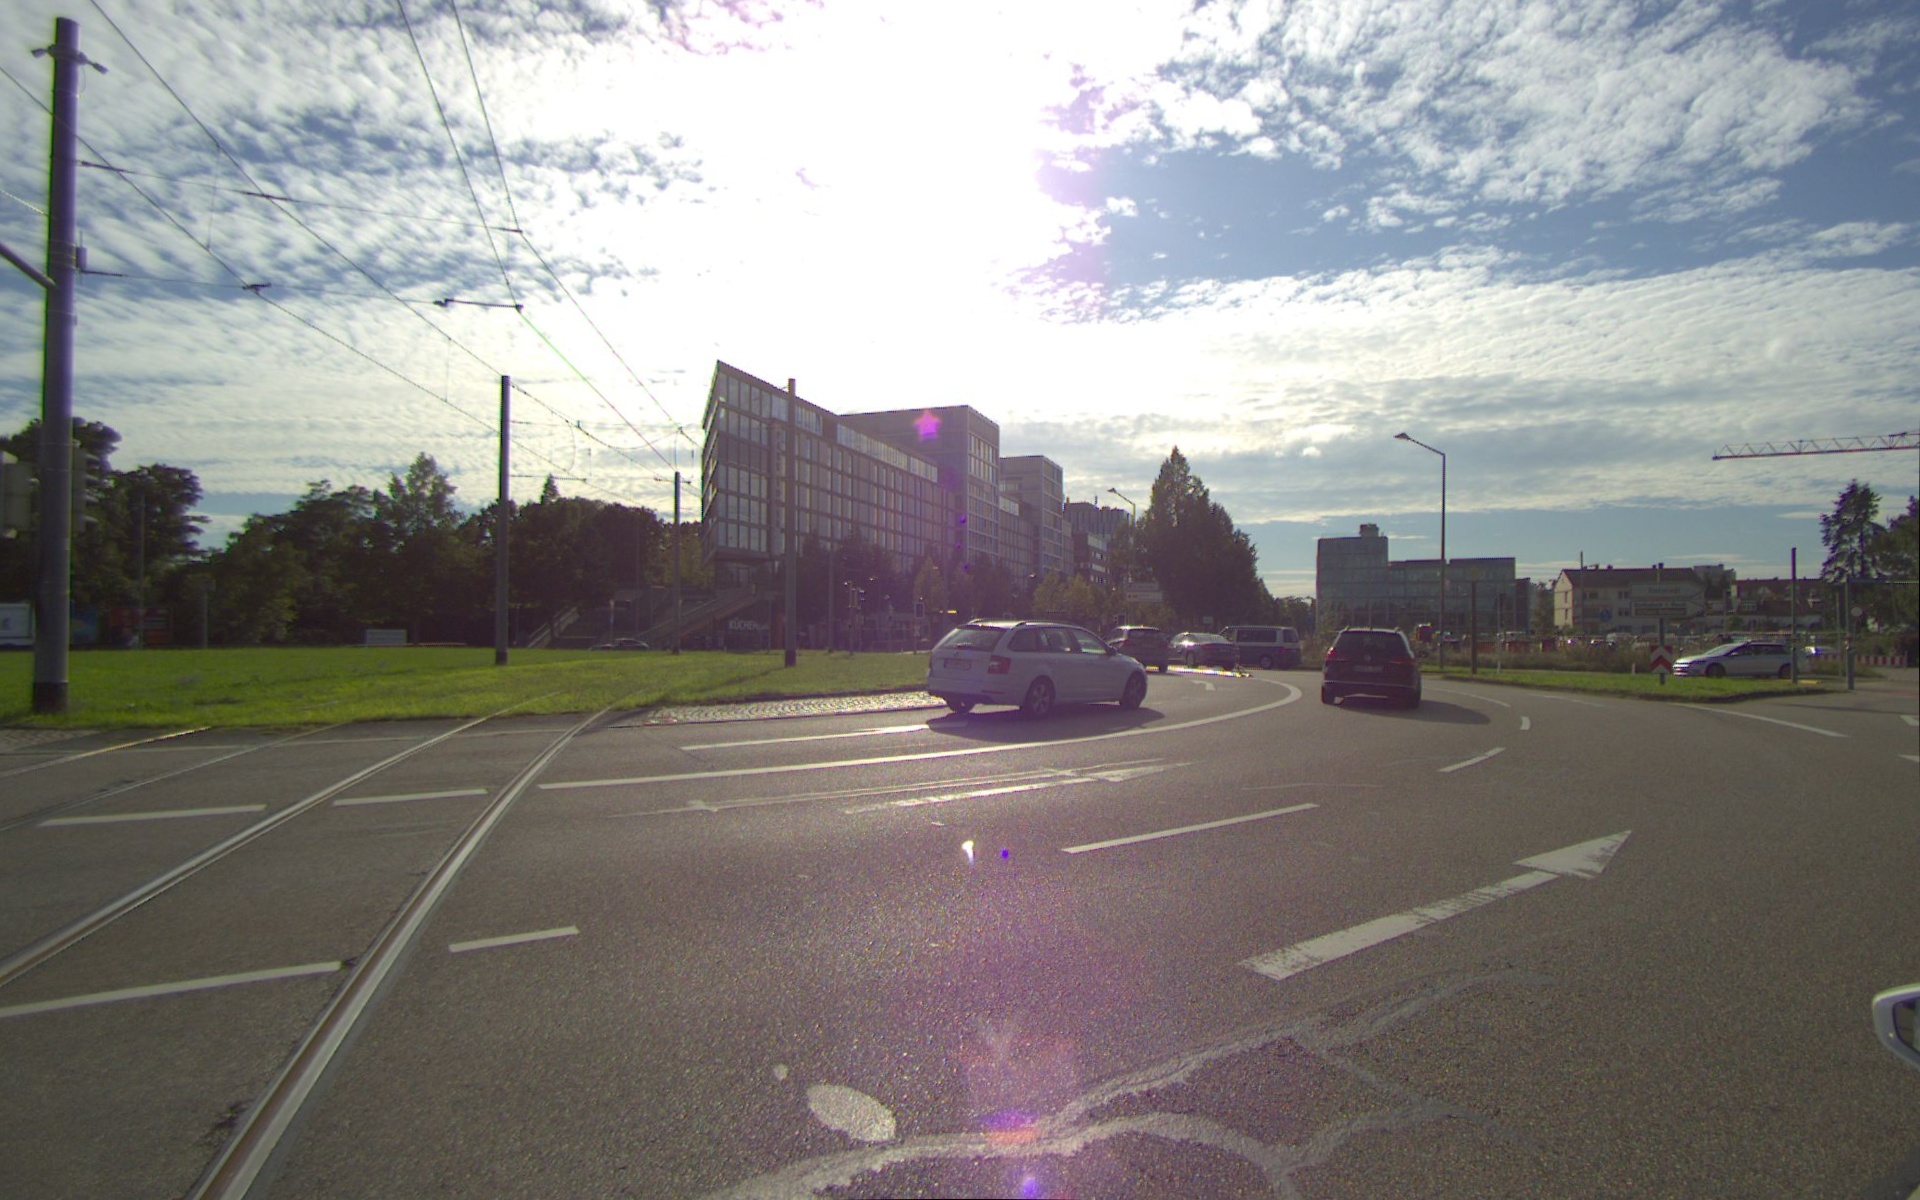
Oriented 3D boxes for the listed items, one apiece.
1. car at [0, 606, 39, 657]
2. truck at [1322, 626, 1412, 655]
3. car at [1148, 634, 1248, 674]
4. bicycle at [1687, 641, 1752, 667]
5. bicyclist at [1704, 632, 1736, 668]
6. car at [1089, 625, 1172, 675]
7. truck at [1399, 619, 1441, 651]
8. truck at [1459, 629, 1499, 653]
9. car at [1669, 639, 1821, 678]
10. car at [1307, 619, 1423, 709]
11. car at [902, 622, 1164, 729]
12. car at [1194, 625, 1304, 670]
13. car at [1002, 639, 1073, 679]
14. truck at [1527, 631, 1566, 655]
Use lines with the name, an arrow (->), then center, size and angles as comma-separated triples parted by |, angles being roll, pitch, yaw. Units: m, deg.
car -> -45.588, 1.396, 45.040 | 2.031, 2.293, 6.010 | -3, -4, 32
truck -> 38.700, 3.848, 95.776 | 7.704, 2.601, 3.075 | 0, -2, 18
car -> 9.599, 2.150, 40.902 | 1.871, 1.450, 4.644 | 1, -1, -17
bicycle -> 32.498, 2.298, 43.015 | 2.167, 1.077, 0.703 | -1, -2, 34
bicyclist -> 32.543, 2.136, 43.025 | 0.993, 1.531, 0.703 | -1, -2, 34
car -> 6.020, 1.739, 35.893 | 1.741, 1.593, 4.062 | 1, -1, -8
truck -> 48.347, 3.696, 105.701 | 2.760, 3.249, 7.321 | 0, -2, 15
truck -> 53.893, 4.266, 104.433 | 2.288, 2.358, 6.457 | 0, -2, 15
car -> 31.006, 2.304, 39.795 | 4.450, 1.471, 1.825 | 0, -2, 7
car -> 8.422, 1.268, 20.653 | 1.962, 1.587, 4.842 | 0, -2, 25
car -> 1.332, 1.118, 16.438 | 1.830, 1.464, 4.613 | 0, -1, 42
car -> 13.548, 2.164, 47.211 | 4.594, 1.928, 1.892 | 0, -1, 42
car -> 3.500, 2.656, 45.916 | 1.967, 1.561, 3.986 | 1, 0, -16
truck -> 59.998, 4.374, 102.842 | 2.022, 2.358, 5.642 | 0, -2, 15
